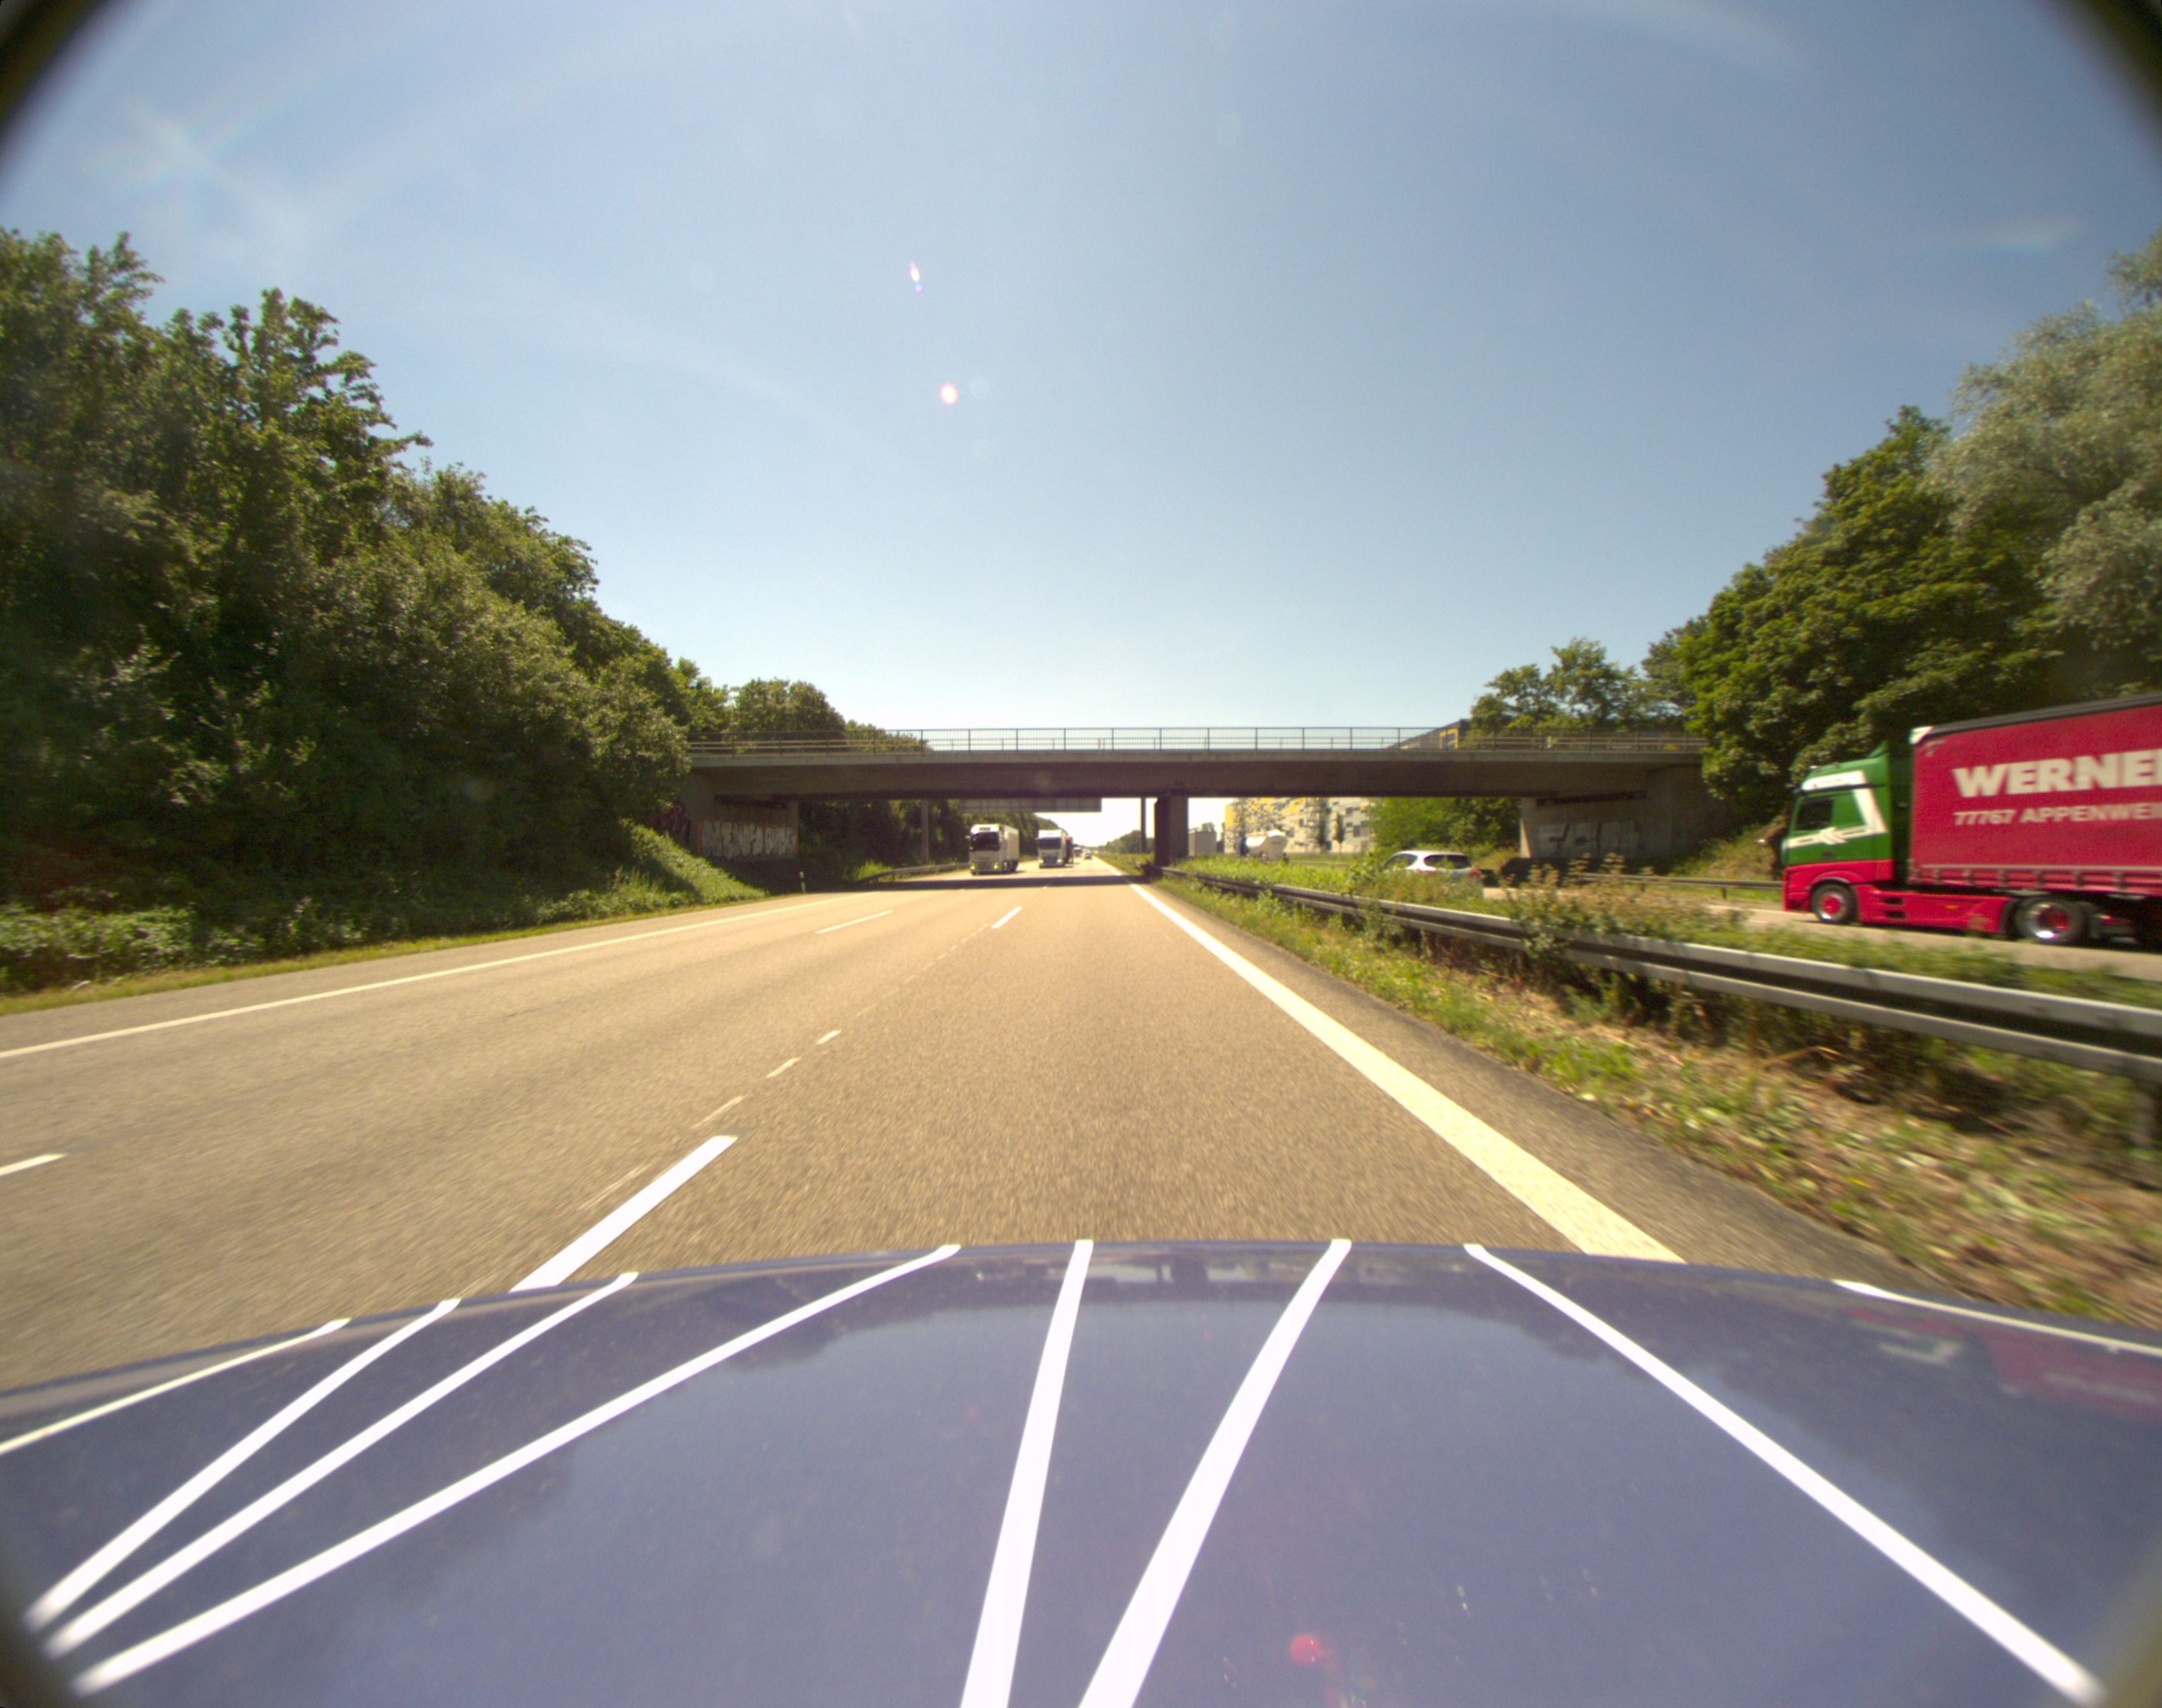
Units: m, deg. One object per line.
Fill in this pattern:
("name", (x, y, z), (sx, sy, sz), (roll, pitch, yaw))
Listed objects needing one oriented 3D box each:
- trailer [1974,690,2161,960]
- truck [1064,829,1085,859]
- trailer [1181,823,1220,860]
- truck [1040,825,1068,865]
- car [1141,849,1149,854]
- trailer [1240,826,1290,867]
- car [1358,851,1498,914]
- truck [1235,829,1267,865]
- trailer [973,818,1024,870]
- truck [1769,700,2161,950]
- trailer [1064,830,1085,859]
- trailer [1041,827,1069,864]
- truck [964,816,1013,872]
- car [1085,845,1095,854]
("trailer", (17.772, -0.406, 7.390), (3.225, 4.035, 12.740), (0, 1, 0))
("truck", (-0.948, -1.378, 107.030), (2.870, 4.046, 5.770), (-2, 0, -1))
("trailer", (14.722, -1.440, 94.521), (2.836, 4.200, 13.835), (1, 0, 1))
("truck", (-2.913, -0.941, 82.461), (2.684, 4.046, 6.048), (-2, 0, 0))
("car", (19.815, -0.731, 236.039), (1.904, 1.584, 4.742), (0, 1, 0))
("trailer", (18.657, -0.745, 77.845), (2.364, 3.772, 12.074), (1, 0, 1))
("car", (9.242, 0.688, 20.709), (1.672, 1.503, 4.518), (0, 0, -1))
("truck", (18.745, -0.773, 83.977), (2.365, 3.753, 5.251), (1, 1, 1))
("trailer", (-7.332, -0.850, 69.683), (3.047, 4.200, 13.834), (-2, 0, 0))
("truck", (17.826, -0.494, 15.100), (3.225, 4.036, 5.617), (0, 1, 0))
("trailer", (-1.096, -1.408, 113.984), (2.885, 4.046, 13.832), (-2, 0, -1))
("trailer", (-2.933, -0.952, 89.721), (2.684, 4.046, 13.834), (-2, 0, 0))
("truck", (-7.346, -0.778, 61.330), (3.055, 4.190, 6.048), (-2, 0, 0))
("car", (2.058, -1.031, 169.217), (2.073, 1.959, 5.109), (0, 0, -1))
